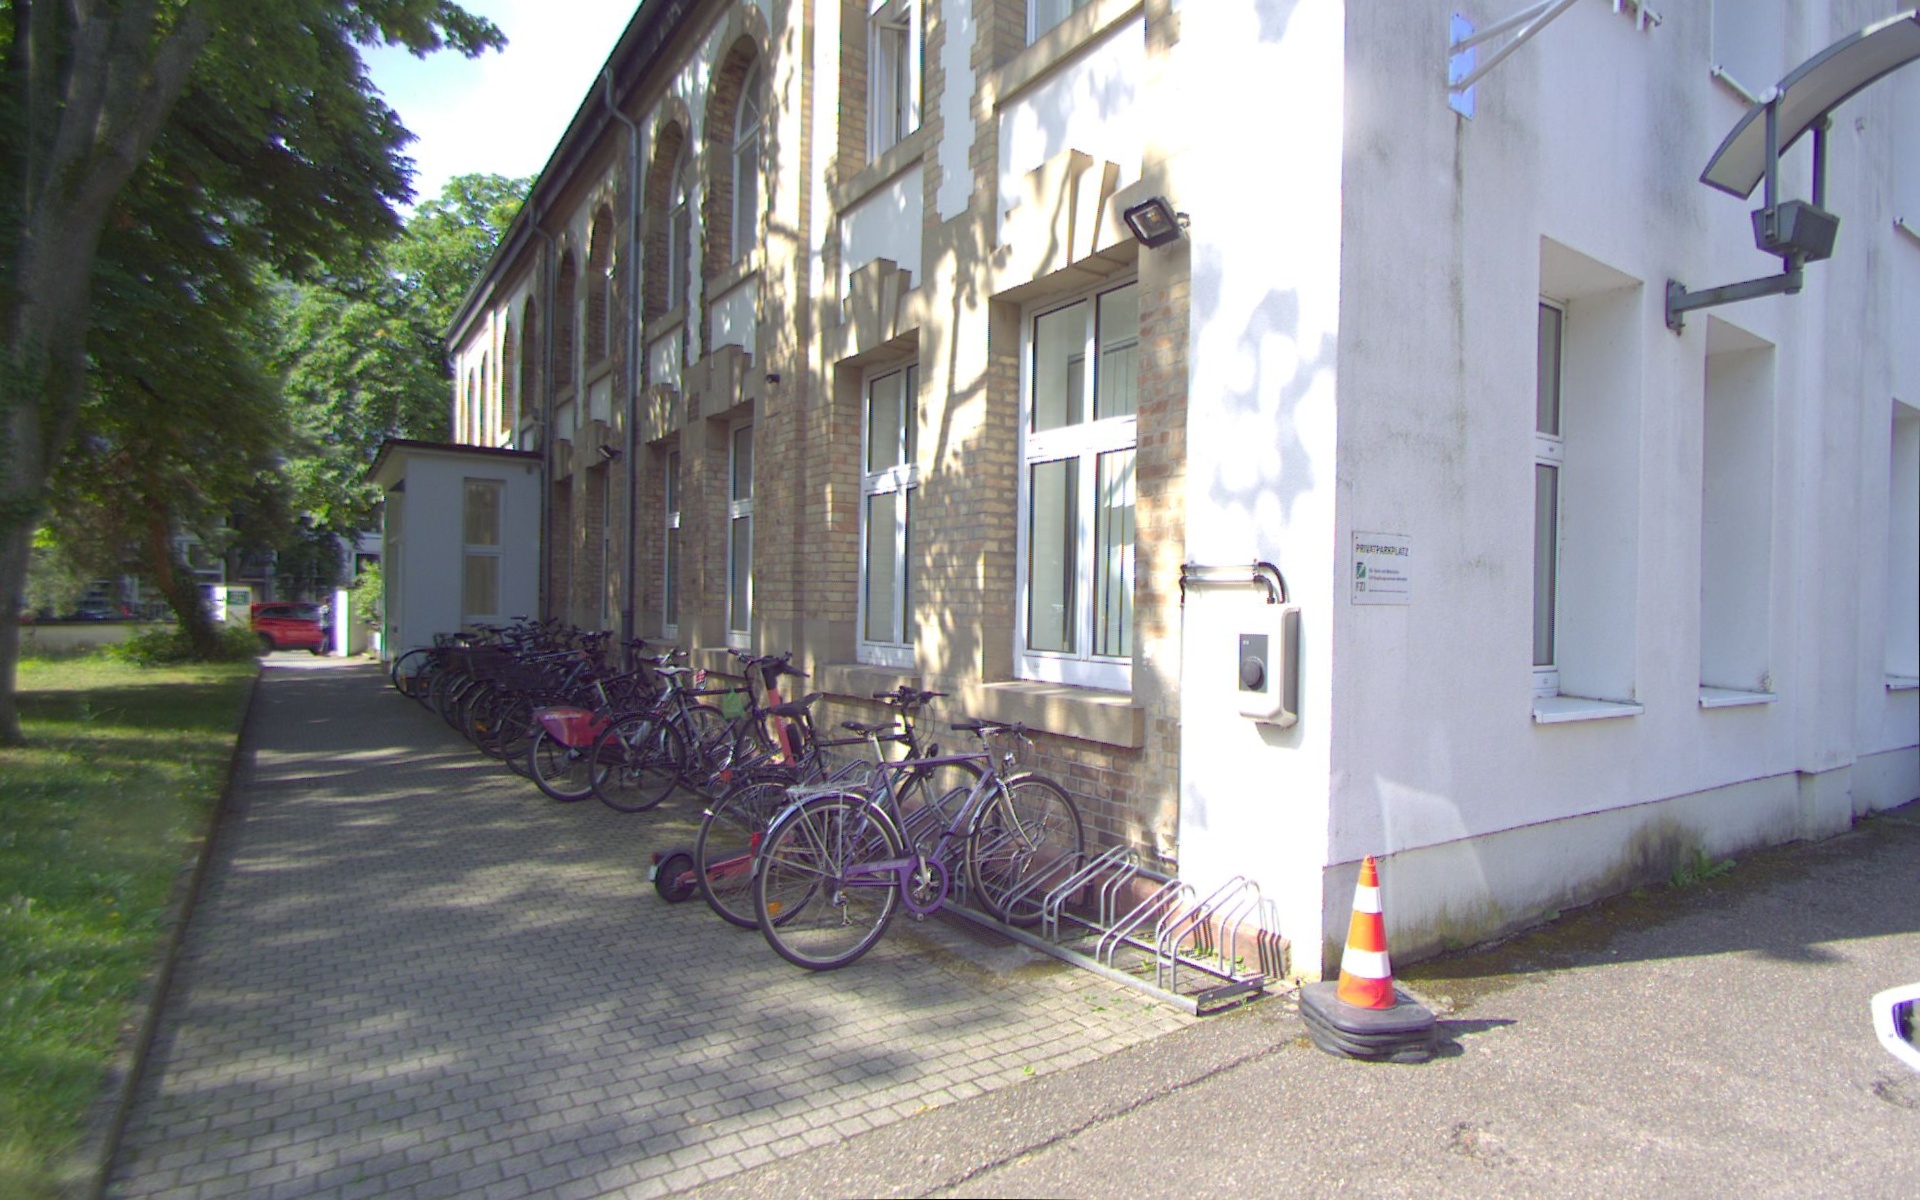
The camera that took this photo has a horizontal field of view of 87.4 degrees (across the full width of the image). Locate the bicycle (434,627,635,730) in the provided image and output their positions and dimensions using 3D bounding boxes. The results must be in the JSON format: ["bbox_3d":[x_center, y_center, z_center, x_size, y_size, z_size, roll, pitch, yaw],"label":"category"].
[{"bbox_3d":[-4.784,0.865,11.371,2.043,1.070,0.416,1,1,-31],"label":"bicycle"}]

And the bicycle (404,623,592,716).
[{"bbox_3d":[-5.623,0.830,12.304,2.043,1.070,0.416,2,-2,-31],"label":"bicycle"}]

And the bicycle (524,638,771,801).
[{"bbox_3d":[-2.438,0.896,8.000,1.842,1.158,0.354,1,2,-36],"label":"bicycle"}]

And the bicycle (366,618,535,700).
[{"bbox_3d":[-6.978,0.802,13.826,2.043,1.070,0.416,2,-2,-31],"label":"bicycle"}]

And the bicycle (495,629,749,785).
[{"bbox_3d":[-2.909,0.890,8.769,2.043,1.232,0.416,1,1,-31],"label":"bicycle"}]

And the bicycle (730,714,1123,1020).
[{"bbox_3d":[-0.069,1.082,4.446,1.842,1.051,0.317,2,1,-36],"label":"bicycle"}]

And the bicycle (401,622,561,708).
[{"bbox_3d":[-6.253,0.840,13.177,1.842,1.051,0.317,2,1,-36],"label":"bicycle"}]

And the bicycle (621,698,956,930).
[{"bbox_3d":[-0.881,1.108,5.559,1.842,1.051,0.317,2,1,-36],"label":"bicycle"}]

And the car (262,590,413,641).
[{"bbox_3d":[-19.255,0.449,31.192,1.692,1.417,3.600,3,1,33],"label":"car"}]

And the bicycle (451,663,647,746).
[{"bbox_3d":[-4.187,1.050,10.302,1.837,0.715,0.318,0,2,-29],"label":"bicycle"}]

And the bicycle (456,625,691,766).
[{"bbox_3d":[-3.684,0.871,9.689,2.043,1.138,0.416,-3,4,-31],"label":"bicycle"}]

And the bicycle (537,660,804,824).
[{"bbox_3d":[-2.056,0.981,7.320,1.842,1.051,0.317,2,1,-36],"label":"bicycle"}]

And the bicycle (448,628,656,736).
[{"bbox_3d":[-4.404,0.864,10.939,2.043,1.070,0.416,1,1,-31],"label":"bicycle"}]

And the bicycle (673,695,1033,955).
[{"bbox_3d":[-0.460,1.039,5.017,1.842,1.051,0.317,2,1,-36],"label":"bicycle"}]
